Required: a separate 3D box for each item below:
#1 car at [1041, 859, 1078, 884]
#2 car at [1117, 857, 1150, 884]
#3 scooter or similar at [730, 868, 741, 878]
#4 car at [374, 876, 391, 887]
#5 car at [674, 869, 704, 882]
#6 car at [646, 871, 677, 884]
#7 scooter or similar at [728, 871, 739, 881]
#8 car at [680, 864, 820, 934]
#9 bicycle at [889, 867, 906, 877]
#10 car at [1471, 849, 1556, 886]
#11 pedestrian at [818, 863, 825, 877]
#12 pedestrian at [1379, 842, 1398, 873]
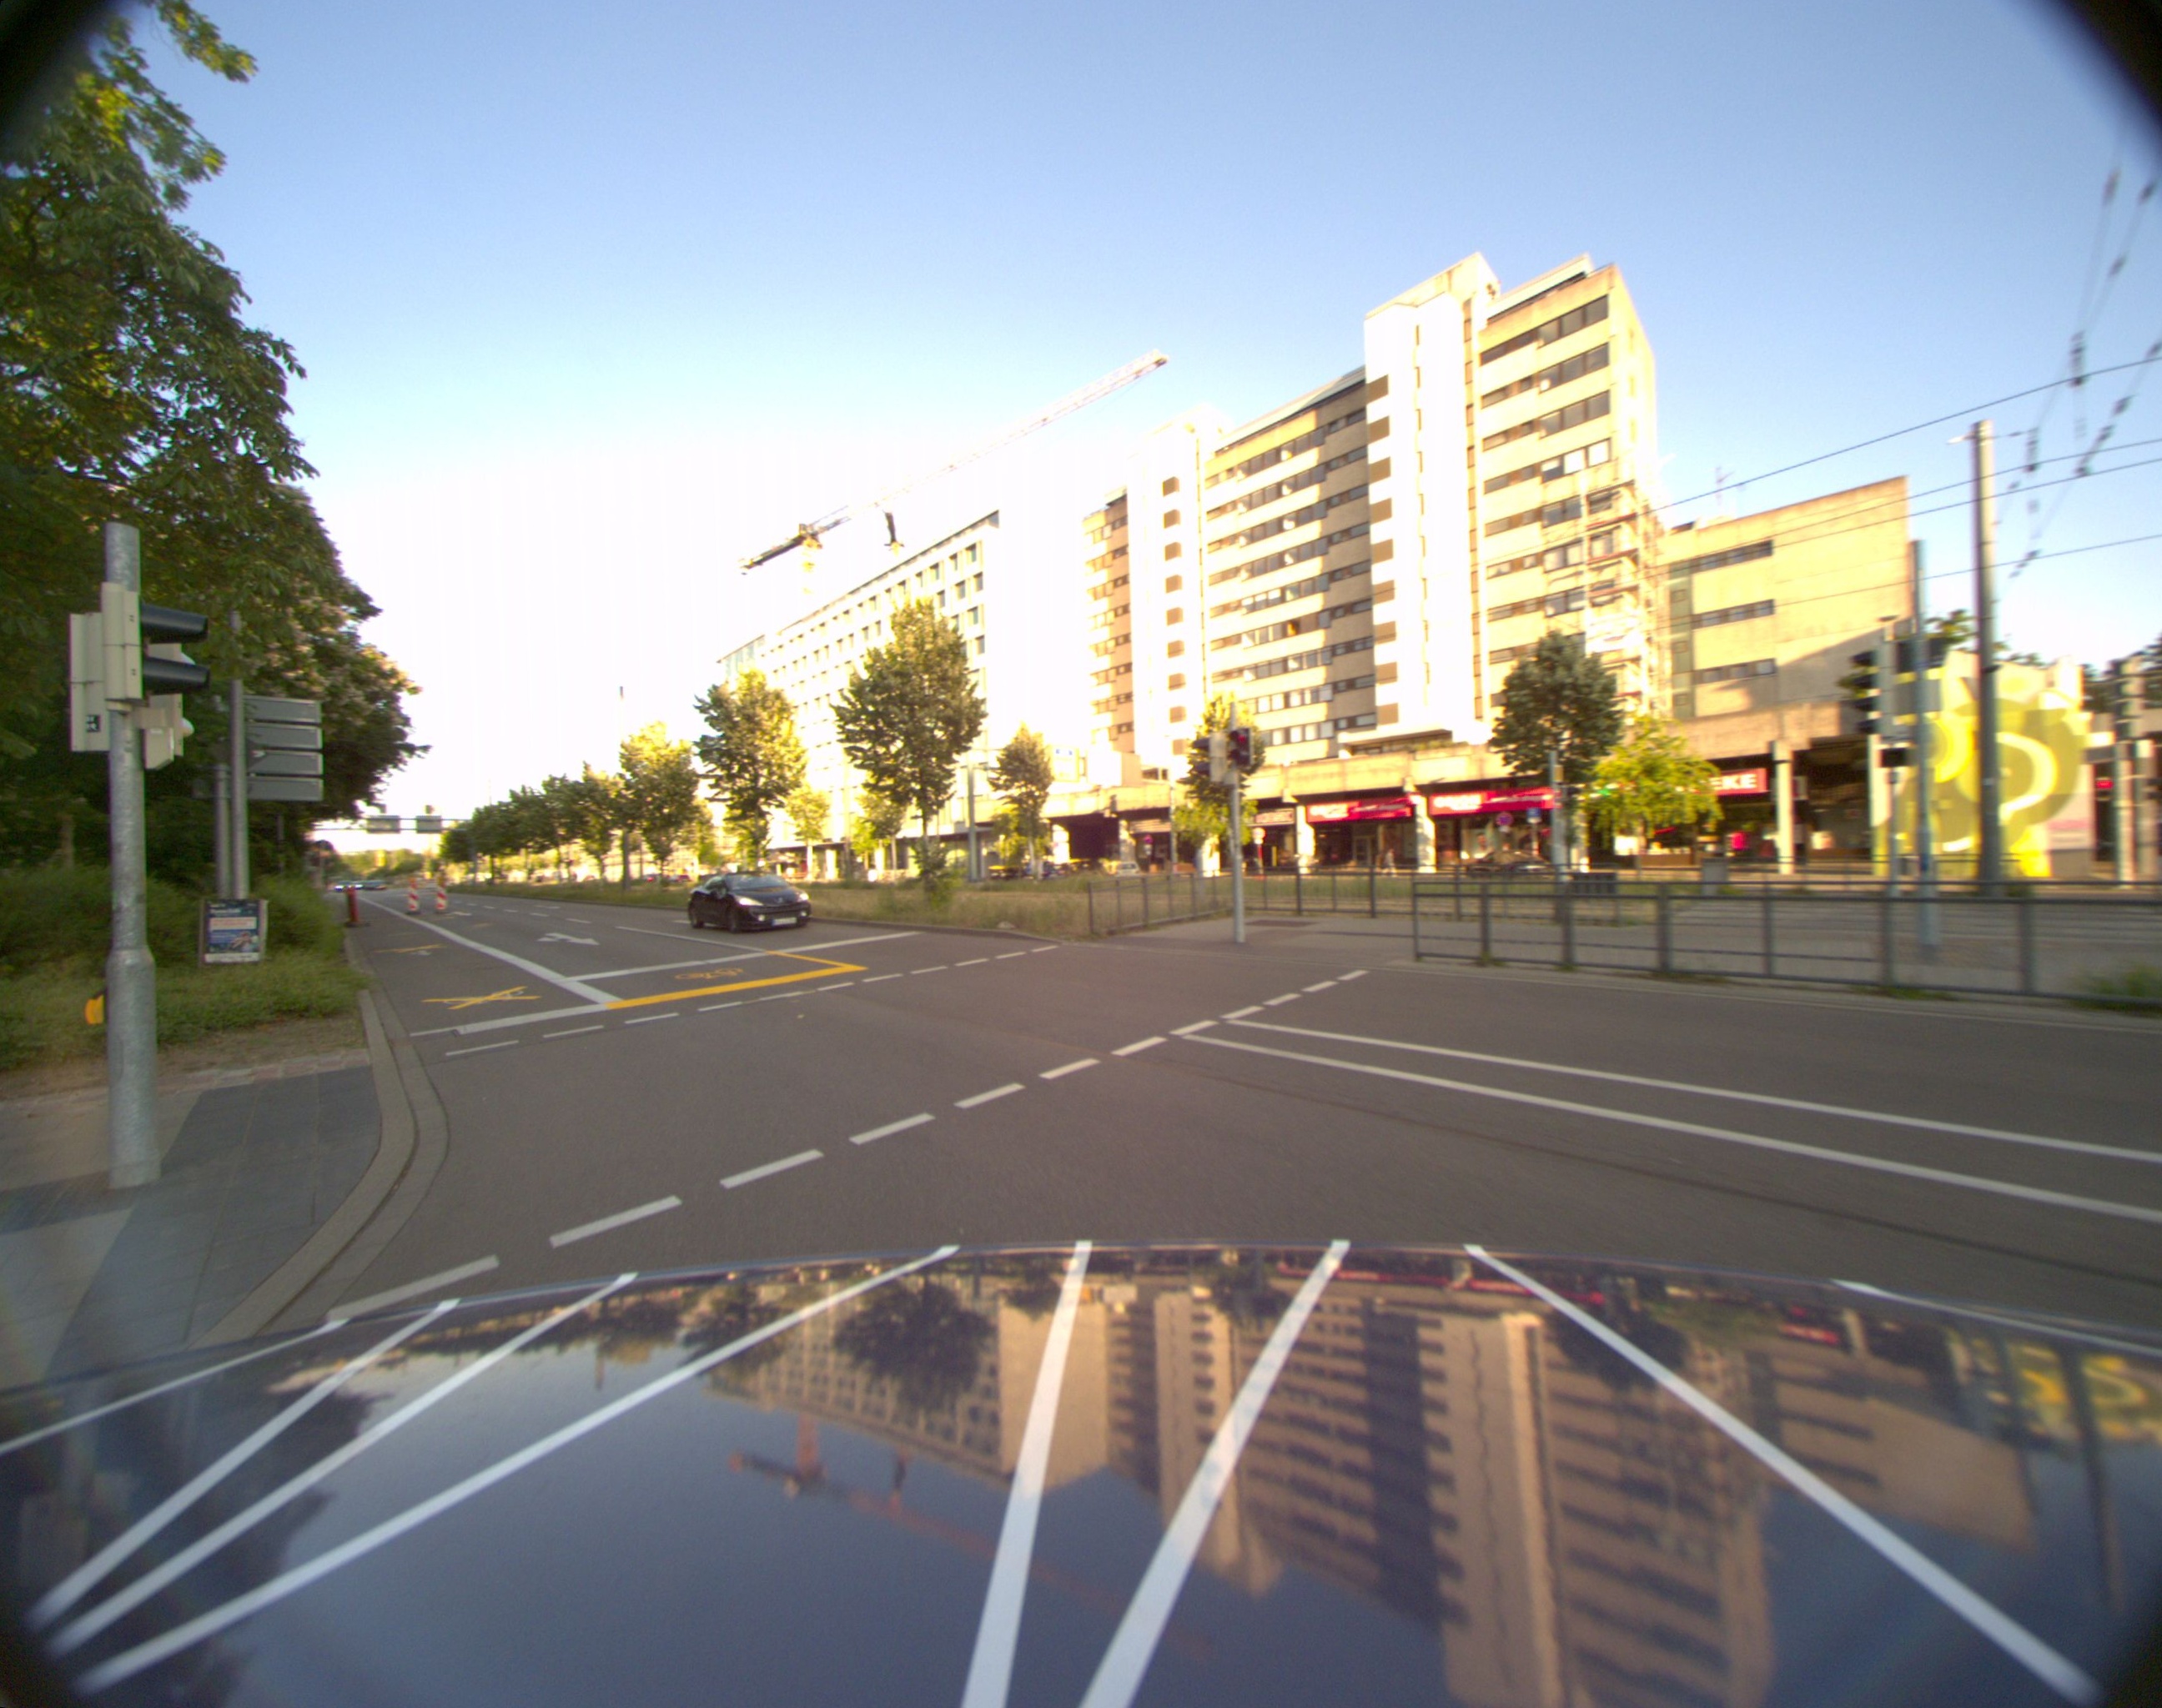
[{"bbox_3d":[-1.429,1.185,52.380,2.007,1.581,4.287,-2,0,6],"label":"car"},{"bbox_3d":[3.371,1.018,48.137,1.823,1.427,4.132,-3,1,7],"label":"car"},{"bbox_3d":[-42.374,2.316,93.152,1.188,1.210,0.337,-2,1,-43],"label":"scooter or similar"},{"bbox_3d":[-100.572,3.949,109.449,1.707,1.588,4.248,-3,0,-43],"label":"car"},{"bbox_3d":[-47.143,2.605,91.350,4.212,1.431,1.895,-2,0,45],"label":"car"},{"bbox_3d":[-49.401,2.743,89.403,2.026,1.432,4.788,1,-2,-44],"label":"car"},{"bbox_3d":[-41.748,2.646,91.330,1.188,1.157,0.337,-2,1,-43],"label":"scooter or similar"},{"bbox_3d":[-7.904,1.041,17.949,1.728,1.441,3.891,-2,-2,-44],"label":"car"},{"bbox_3d":[-19.286,1.902,79.927,0.420,1.014,1.751,-2,0,42],"label":"bicycle"},{"bbox_3d":[18.077,0.524,31.949,1.742,1.441,3.732,-2,0,6],"label":"car"},{"bbox_3d":[-30.286,1.877,88.624,0.499,1.591,0.602,-5,2,-43],"label":"pedestrian"},{"bbox_3d":[16.681,0.215,41.223,0.667,1.651,0.659,-3,1,-41],"label":"pedestrian"}]
